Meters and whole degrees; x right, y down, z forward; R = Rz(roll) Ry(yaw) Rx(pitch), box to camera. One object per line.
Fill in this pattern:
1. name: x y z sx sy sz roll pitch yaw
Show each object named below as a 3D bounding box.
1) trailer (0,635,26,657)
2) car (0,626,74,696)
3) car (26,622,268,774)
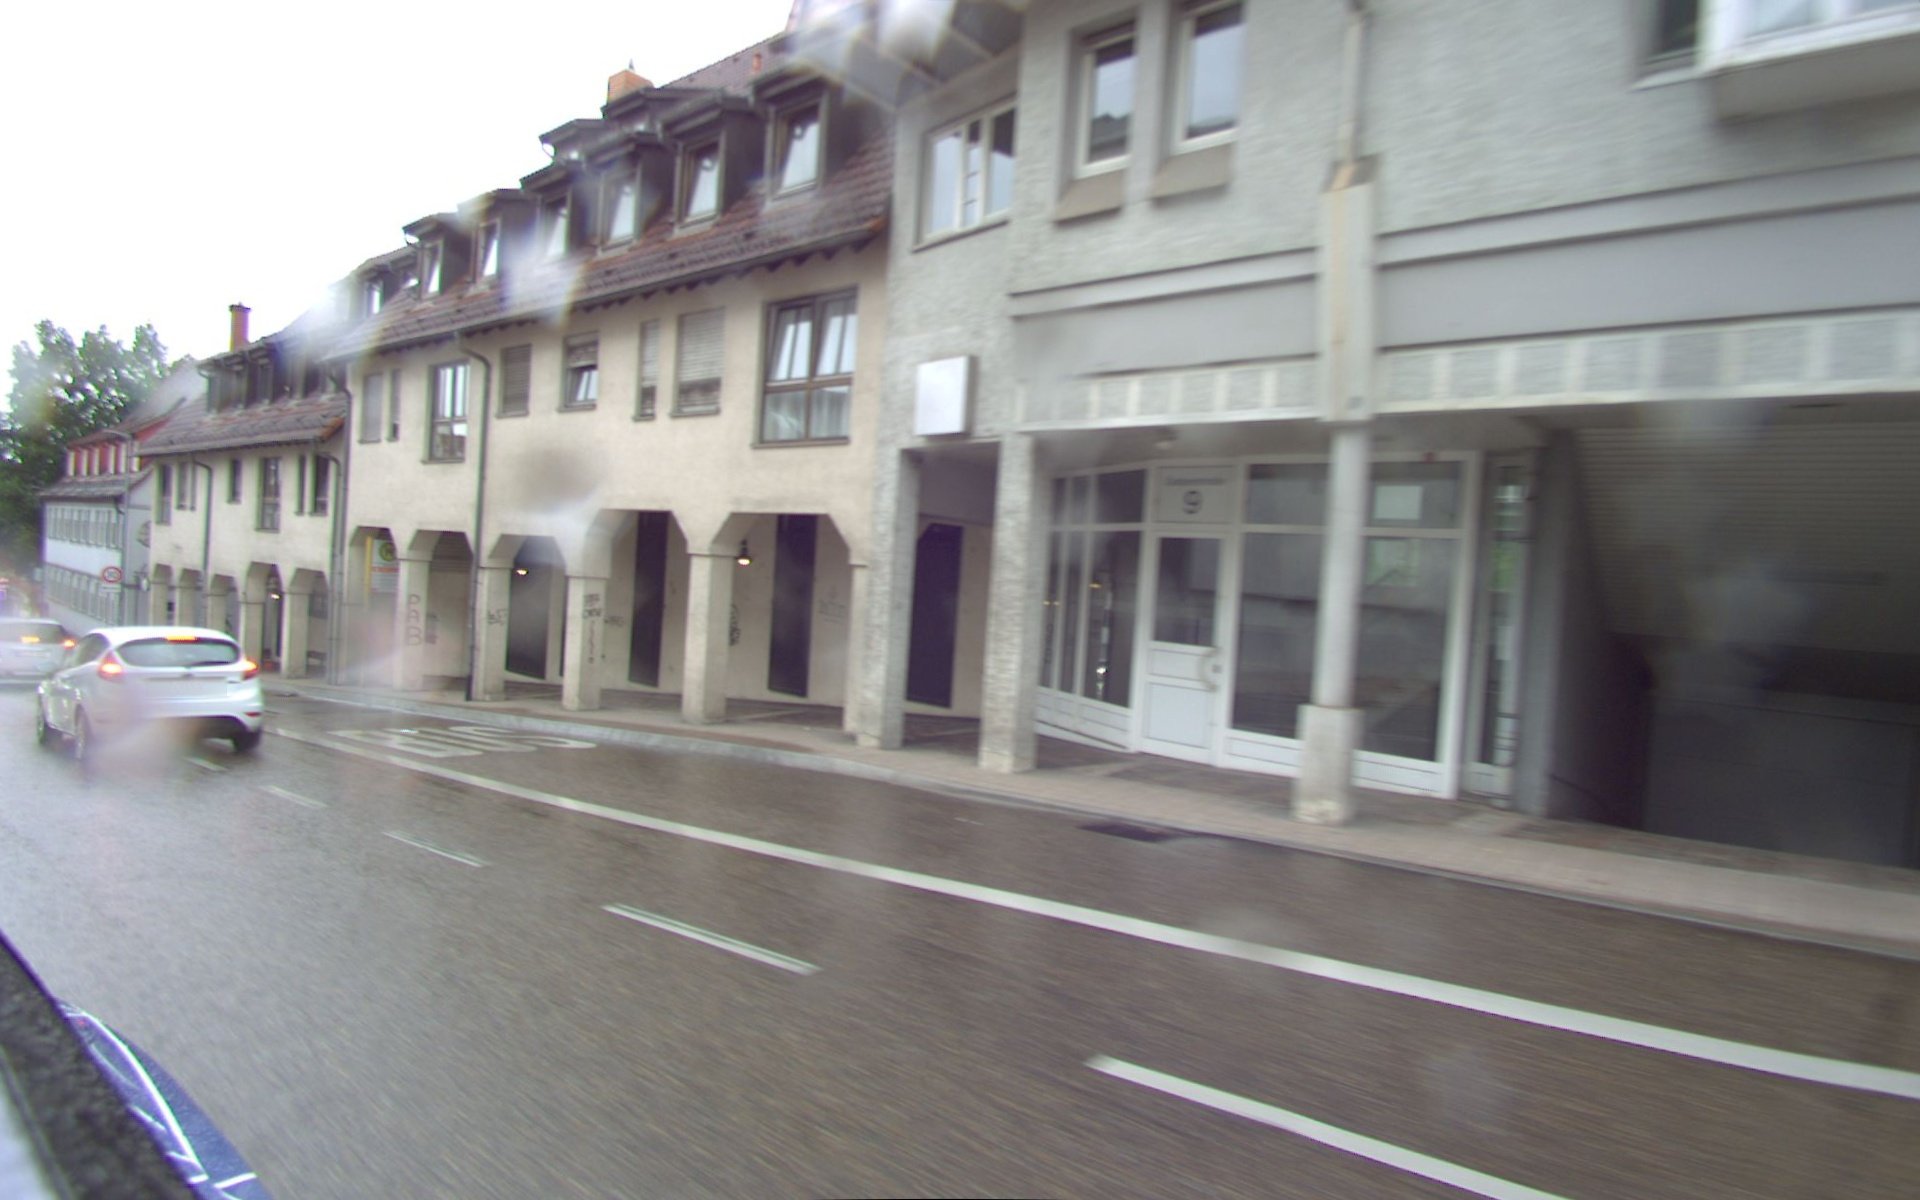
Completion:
1. trailer: -44.323 2.106 46.329 4.477 0.912 1.972 -1 0 43
2. car: -22.208 1.374 23.669 3.585 1.521 1.660 -1 -2 40
3. car: -9.734 1.030 12.037 3.587 1.521 1.659 -1 -2 42
